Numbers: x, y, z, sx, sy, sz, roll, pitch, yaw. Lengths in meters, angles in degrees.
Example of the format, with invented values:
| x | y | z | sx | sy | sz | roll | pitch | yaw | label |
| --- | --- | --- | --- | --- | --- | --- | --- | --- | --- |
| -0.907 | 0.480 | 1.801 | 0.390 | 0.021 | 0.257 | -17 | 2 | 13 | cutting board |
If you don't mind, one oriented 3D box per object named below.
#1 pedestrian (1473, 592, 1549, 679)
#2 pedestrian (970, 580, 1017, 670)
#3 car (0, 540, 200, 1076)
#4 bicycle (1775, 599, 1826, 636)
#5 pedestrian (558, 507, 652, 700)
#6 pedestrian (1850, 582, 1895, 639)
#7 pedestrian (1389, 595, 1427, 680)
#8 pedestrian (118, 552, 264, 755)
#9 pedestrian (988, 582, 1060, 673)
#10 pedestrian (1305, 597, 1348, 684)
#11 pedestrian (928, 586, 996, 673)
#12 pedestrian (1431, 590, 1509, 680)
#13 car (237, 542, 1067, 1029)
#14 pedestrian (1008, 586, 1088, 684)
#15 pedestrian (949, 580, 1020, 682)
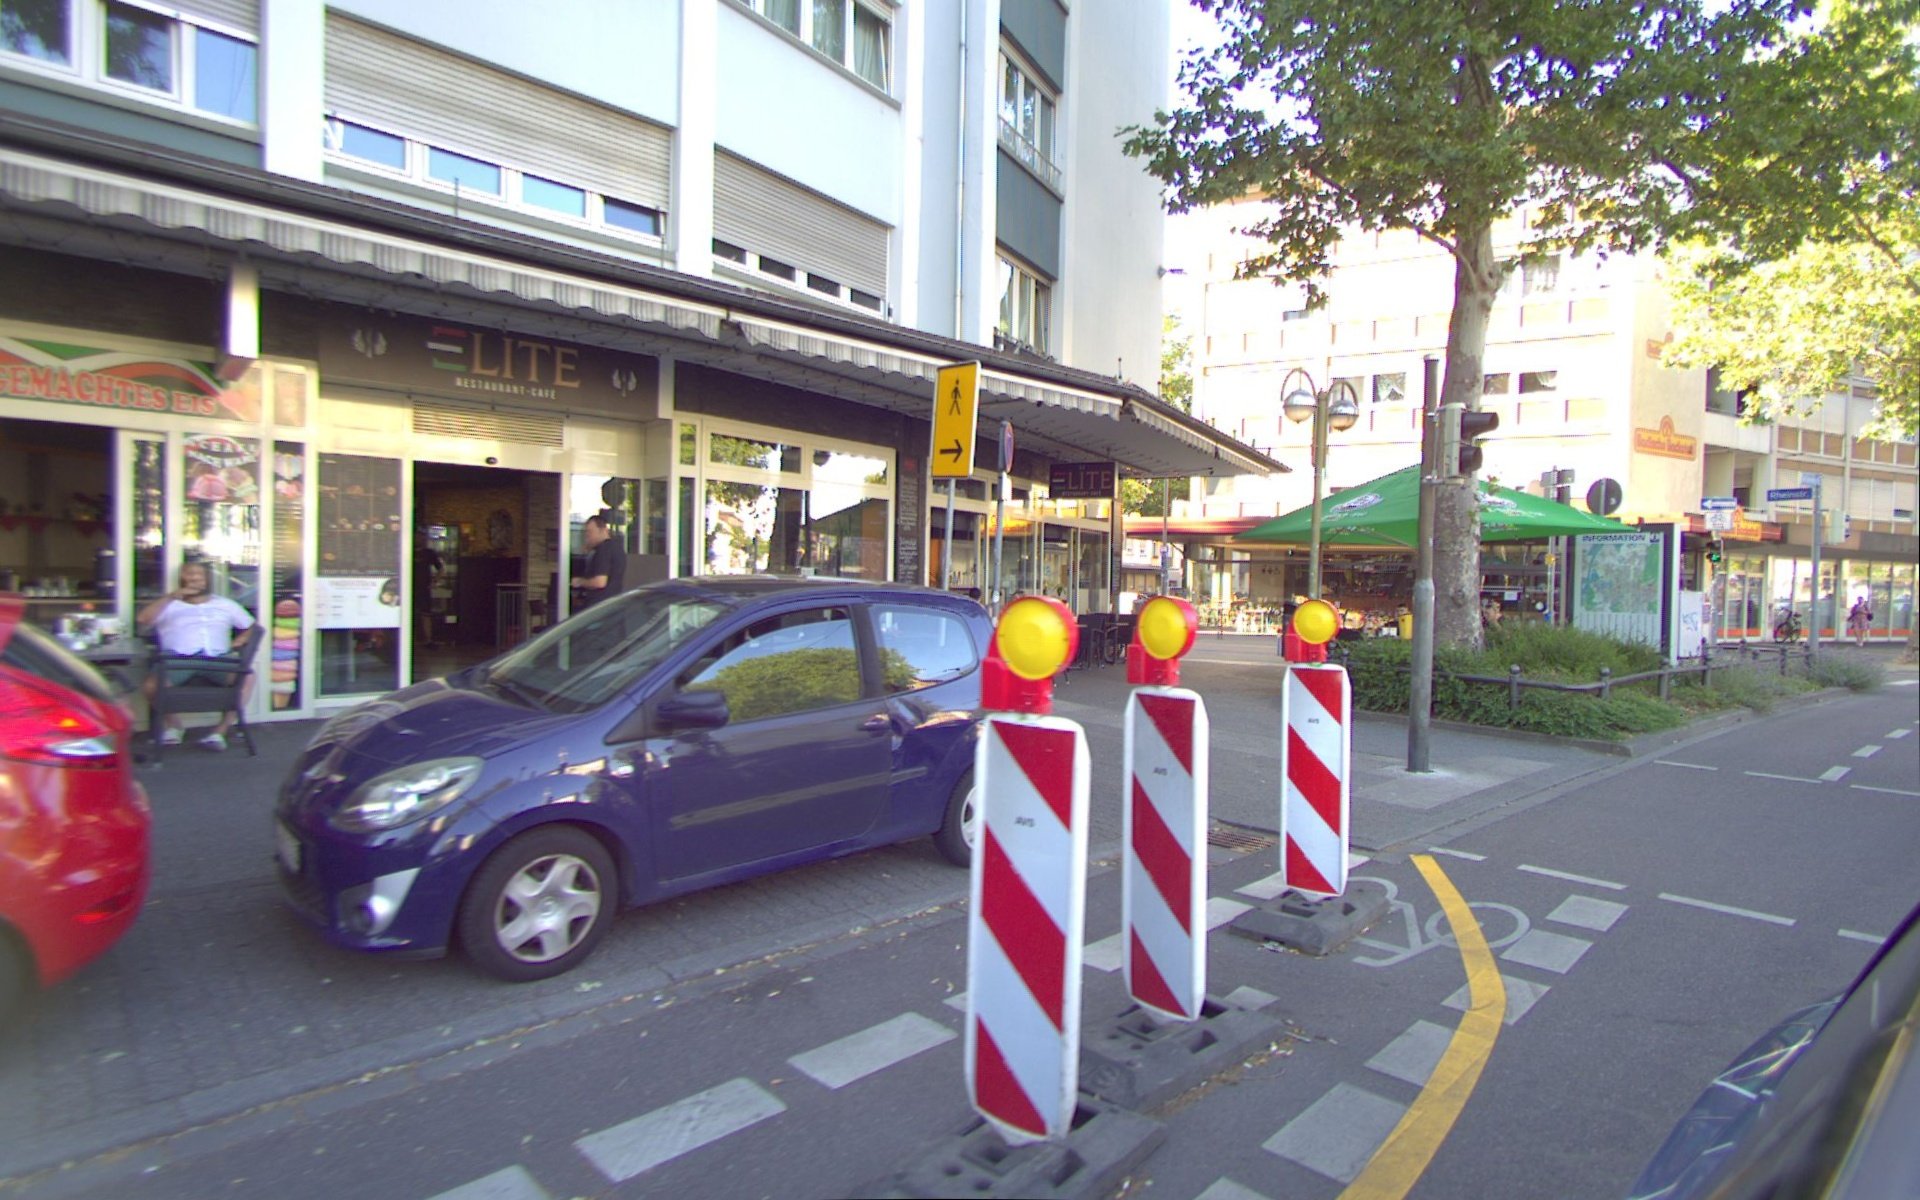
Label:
| x | y | z | sx | sy | sz | roll | pitch | yaw | label |
| --- | --- | --- | --- | --- | --- | --- | --- | --- | --- |
| 8.584 | 0.536 | 15.776 | 0.753 | 1.301 | 0.720 | 1 | 1 | -29 | pedestrian |
| 0.489 | 0.358 | 14.782 | 0.541 | 1.259 | 0.521 | 3 | 1 | -7 | pedestrian |
| -4.245 | 0.545 | 2.329 | 1.667 | 1.446 | 3.786 | 5 | 4 | 44 | car |
| 27.340 | 0.570 | 32.920 | 1.933 | 1.157 | 0.530 | 1 | 1 | -27 | bicycle |
| -3.371 | 0.018 | 9.612 | 0.579 | 1.756 | 0.596 | 2 | 3 | -43 | pedestrian |
| 29.454 | 0.337 | 32.670 | 0.883 | 1.779 | 0.751 | 1 | 1 | -24 | pedestrian |
| 6.774 | 0.556 | 15.312 | 0.427 | 1.234 | 0.465 | 3 | 2 | 19 | pedestrian |
| -5.455 | 0.322 | 7.179 | 0.765 | 1.247 | 1.206 | 0 | 5 | -38 | pedestrian |
| 0.912 | 0.384 | 14.424 | 0.664 | 1.233 | 0.706 | 4 | 1 | 43 | pedestrian |
| 5.277 | 0.573 | 14.582 | 0.460 | 1.235 | 0.432 | 1 | 0 | 5 | pedestrian |
| 0.030 | 0.398 | 14.157 | 0.710 | 1.144 | 0.645 | 3 | 1 | 24 | pedestrian |
| 7.737 | 0.518 | 15.369 | 0.752 | 1.301 | 0.721 | 1 | 1 | -27 | pedestrian |
| -1.263 | 0.557 | 4.990 | 3.546 | 1.484 | 1.621 | 0 | 4 | -44 | car |
| 1.186 | 0.451 | 13.535 | 0.838 | 1.213 | 0.644 | 3 | 1 | 27 | pedestrian |
| 0.325 | 0.390 | 13.255 | 0.643 | 1.267 | 0.711 | 3 | 1 | 25 | pedestrian |
